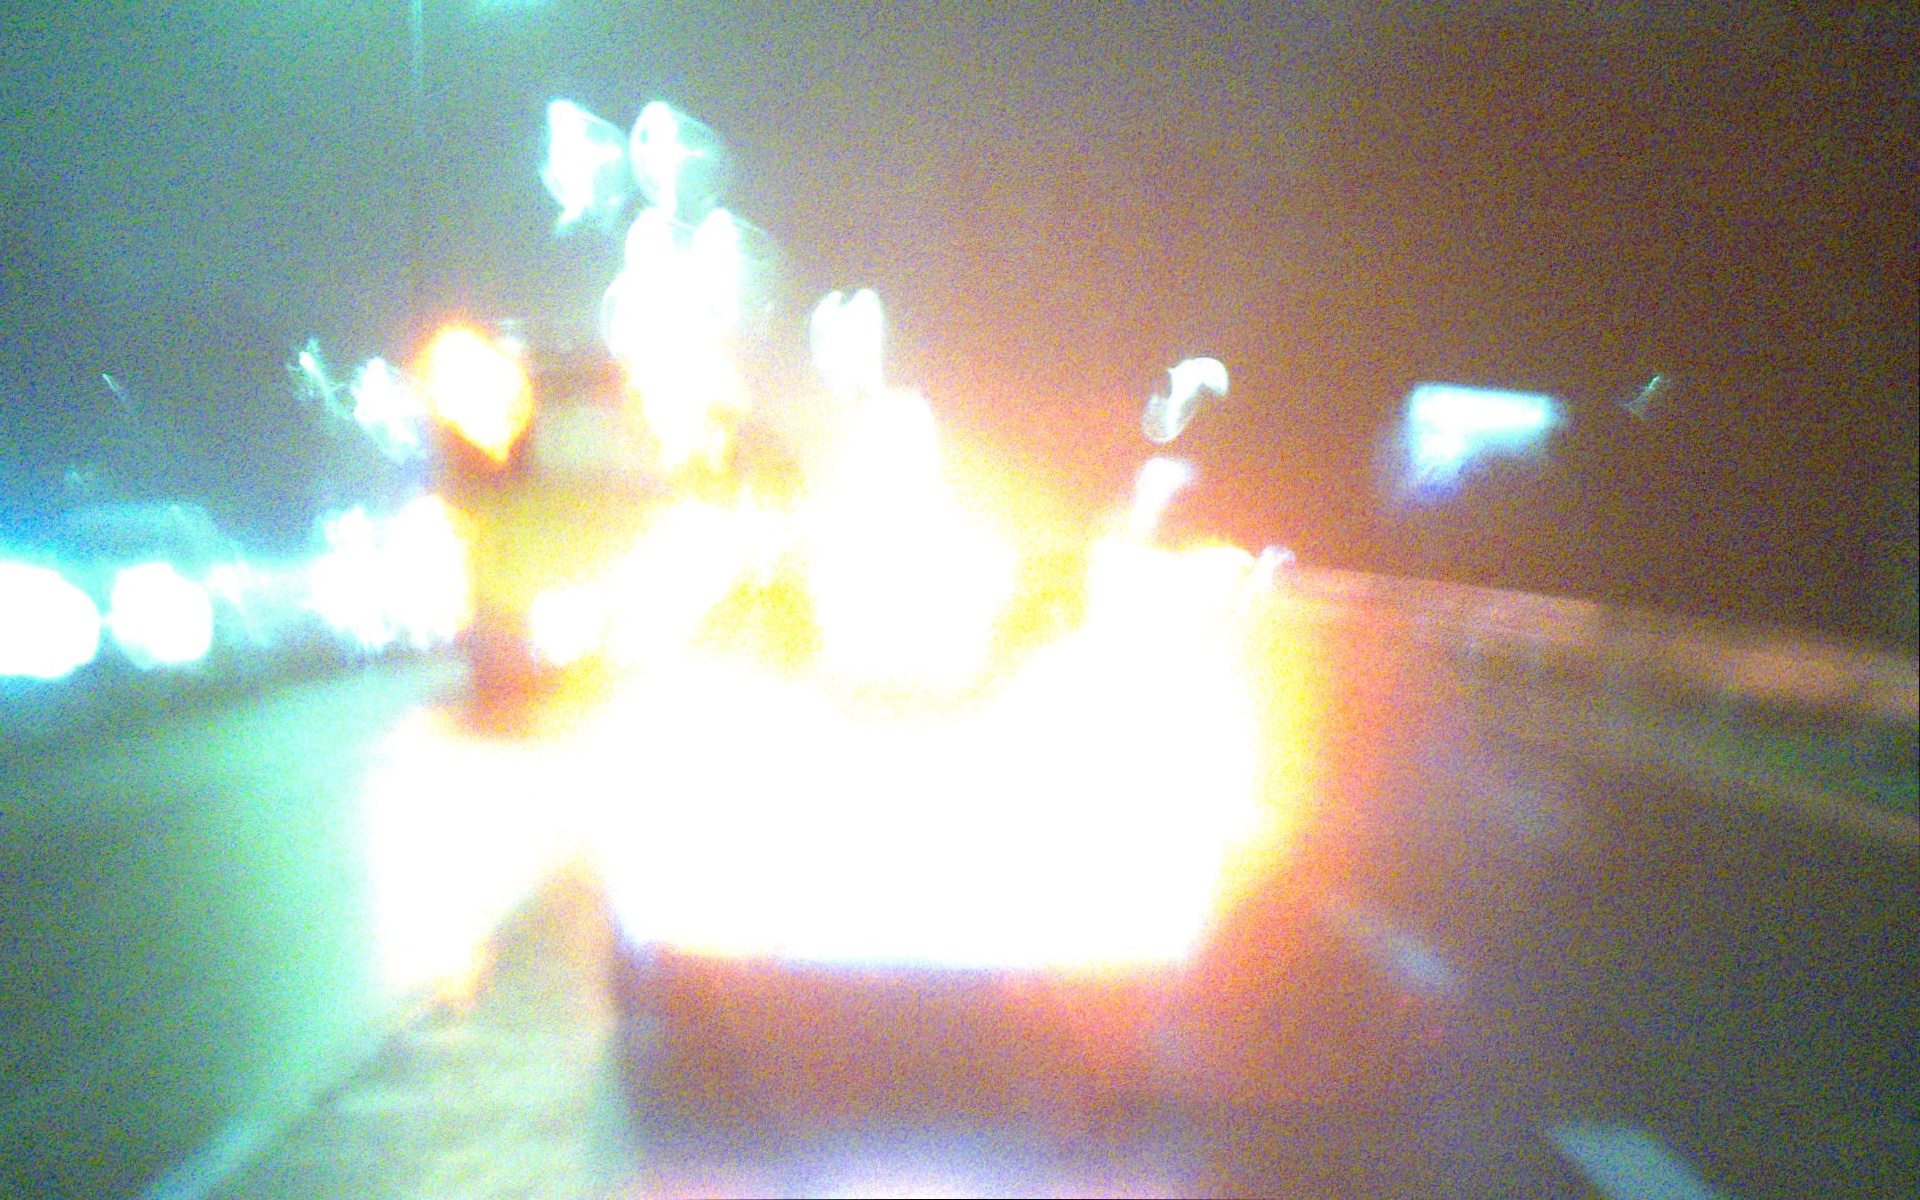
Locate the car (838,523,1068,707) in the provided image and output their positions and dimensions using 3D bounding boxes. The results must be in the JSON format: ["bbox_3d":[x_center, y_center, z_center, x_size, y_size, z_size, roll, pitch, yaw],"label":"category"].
[{"bbox_3d":[-0.053,0.097,29.368,1.822,1.456,3.716,1,1,0],"label":"car"}]

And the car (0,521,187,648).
[{"bbox_3d":[-13.219,-0.227,52.136,1.993,1.768,4.705,2,0,-2],"label":"car"}]

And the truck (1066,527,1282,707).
[{"bbox_3d":[3.418,0.261,53.855,3.070,2.520,7.165,2,0,5],"label":"truck"}]

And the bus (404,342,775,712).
[{"bbox_3d":[-3.459,-0.743,34.394,2.743,3.112,9.202,2,1,-1],"label":"bus"}]

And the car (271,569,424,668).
[{"bbox_3d":[-11.711,0.349,66.010,2.165,1.768,4.705,2,0,-2],"label":"car"}]

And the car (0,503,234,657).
[{"bbox_3d":[-10.638,-0.240,43.439,1.993,1.768,4.705,2,0,-2],"label":"car"}]

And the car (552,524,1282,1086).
[{"bbox_3d":[-0.109,0.527,11.091,1.944,1.486,3.716,1,1,0],"label":"car"}]
